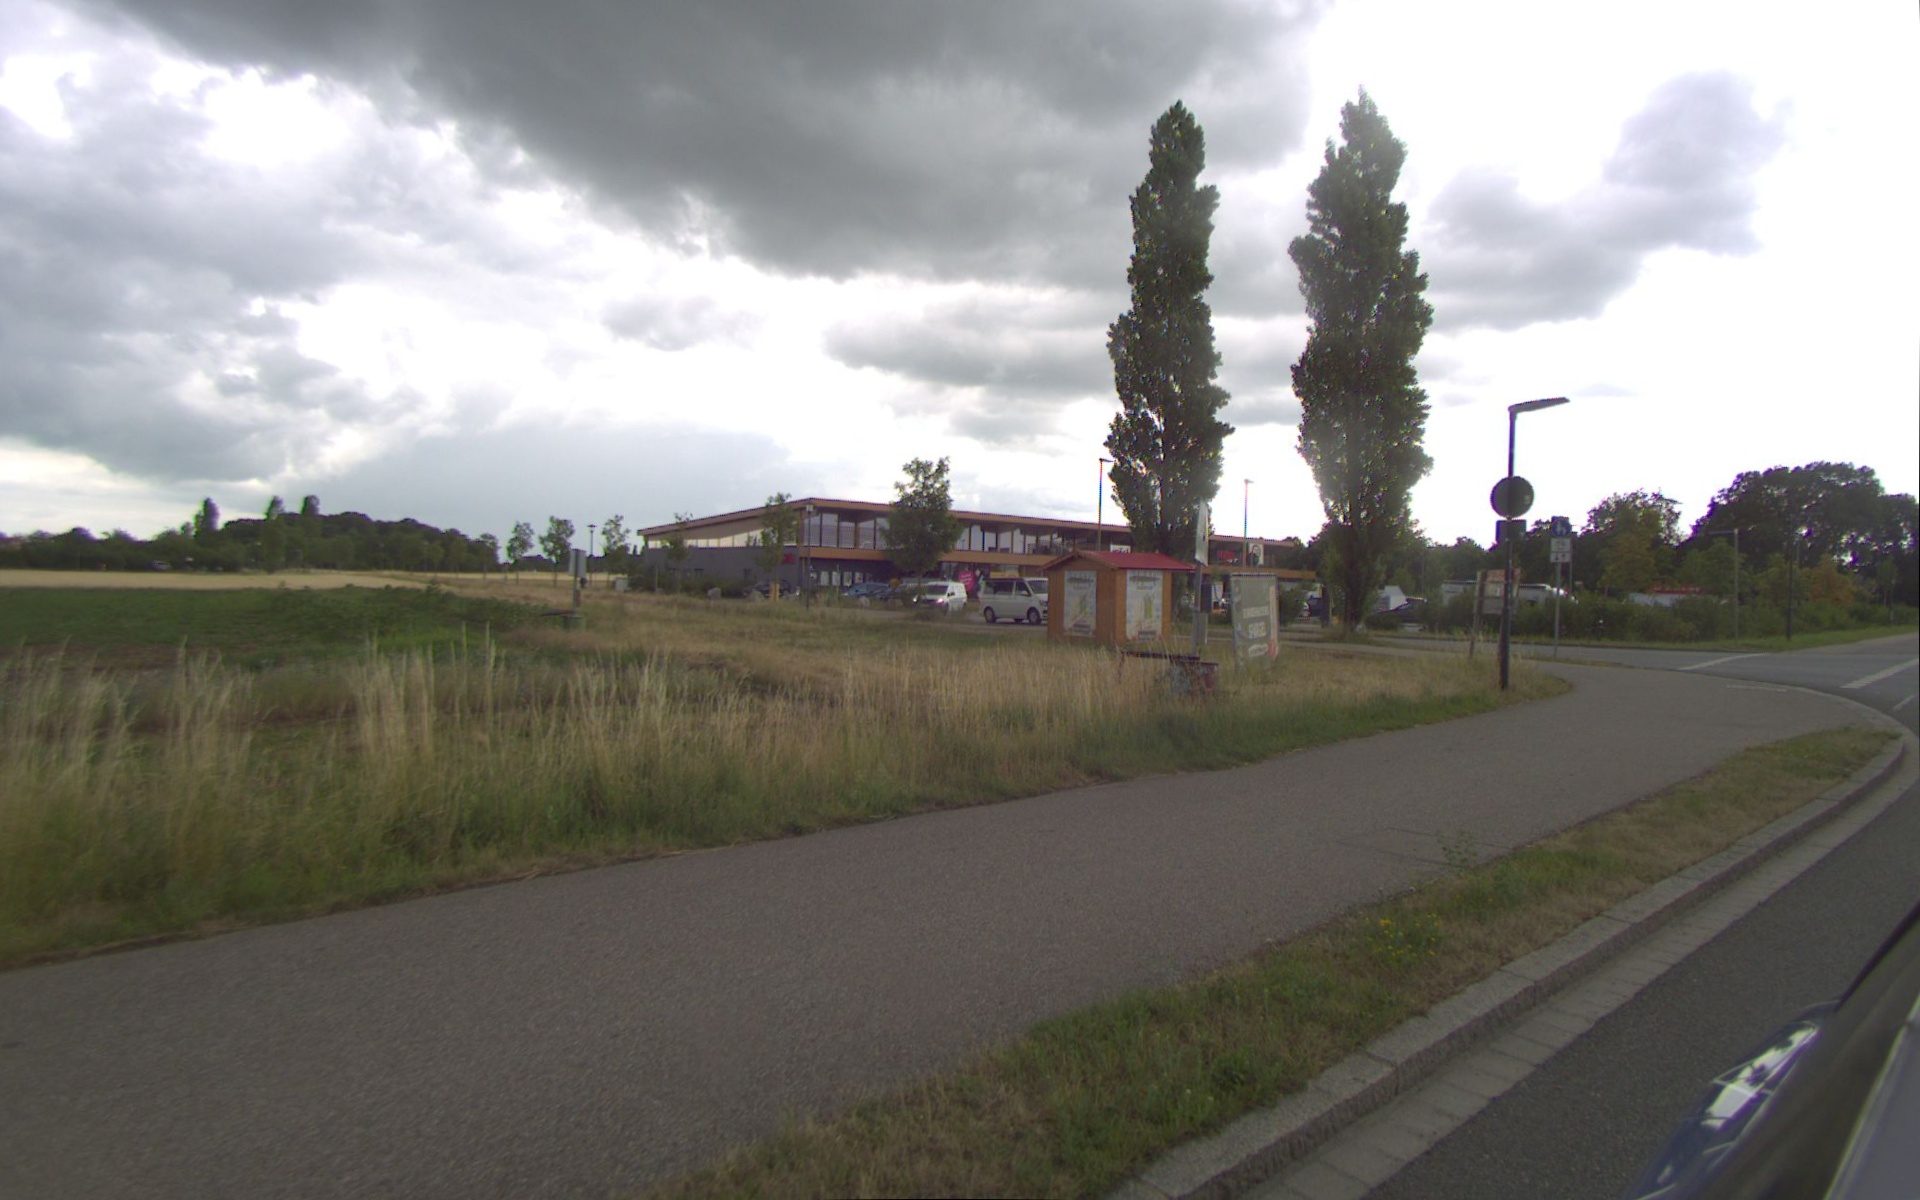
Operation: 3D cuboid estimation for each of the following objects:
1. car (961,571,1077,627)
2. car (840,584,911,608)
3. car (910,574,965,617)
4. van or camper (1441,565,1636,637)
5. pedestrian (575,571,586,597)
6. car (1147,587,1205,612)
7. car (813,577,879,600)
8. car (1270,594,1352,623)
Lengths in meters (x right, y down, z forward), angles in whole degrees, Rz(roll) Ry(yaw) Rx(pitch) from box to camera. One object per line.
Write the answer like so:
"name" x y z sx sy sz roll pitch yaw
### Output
"car" 2.459 -0.079 43.595 1.964 2.038 5.231 1 3 -39
"car" -5.375 -0.246 64.528 4.180 1.365 1.838 1 3 -39
"car" -1.141 -0.295 53.637 1.970 2.038 3.986 3 2 12
"van or camper" 23.554 -0.032 41.473 2.242 2.494 6.479 1 3 -42
"pedestrian" -26.985 -1.128 71.965 0.589 1.783 0.483 1 3 -40
"car" 16.204 -0.071 76.020 2.002 1.627 3.747 1 3 -39
"car" -7.860 -0.807 69.934 4.124 1.427 1.999 1 3 -39
"car" 20.892 0.489 60.382 1.869 1.450 4.186 1 3 -41
